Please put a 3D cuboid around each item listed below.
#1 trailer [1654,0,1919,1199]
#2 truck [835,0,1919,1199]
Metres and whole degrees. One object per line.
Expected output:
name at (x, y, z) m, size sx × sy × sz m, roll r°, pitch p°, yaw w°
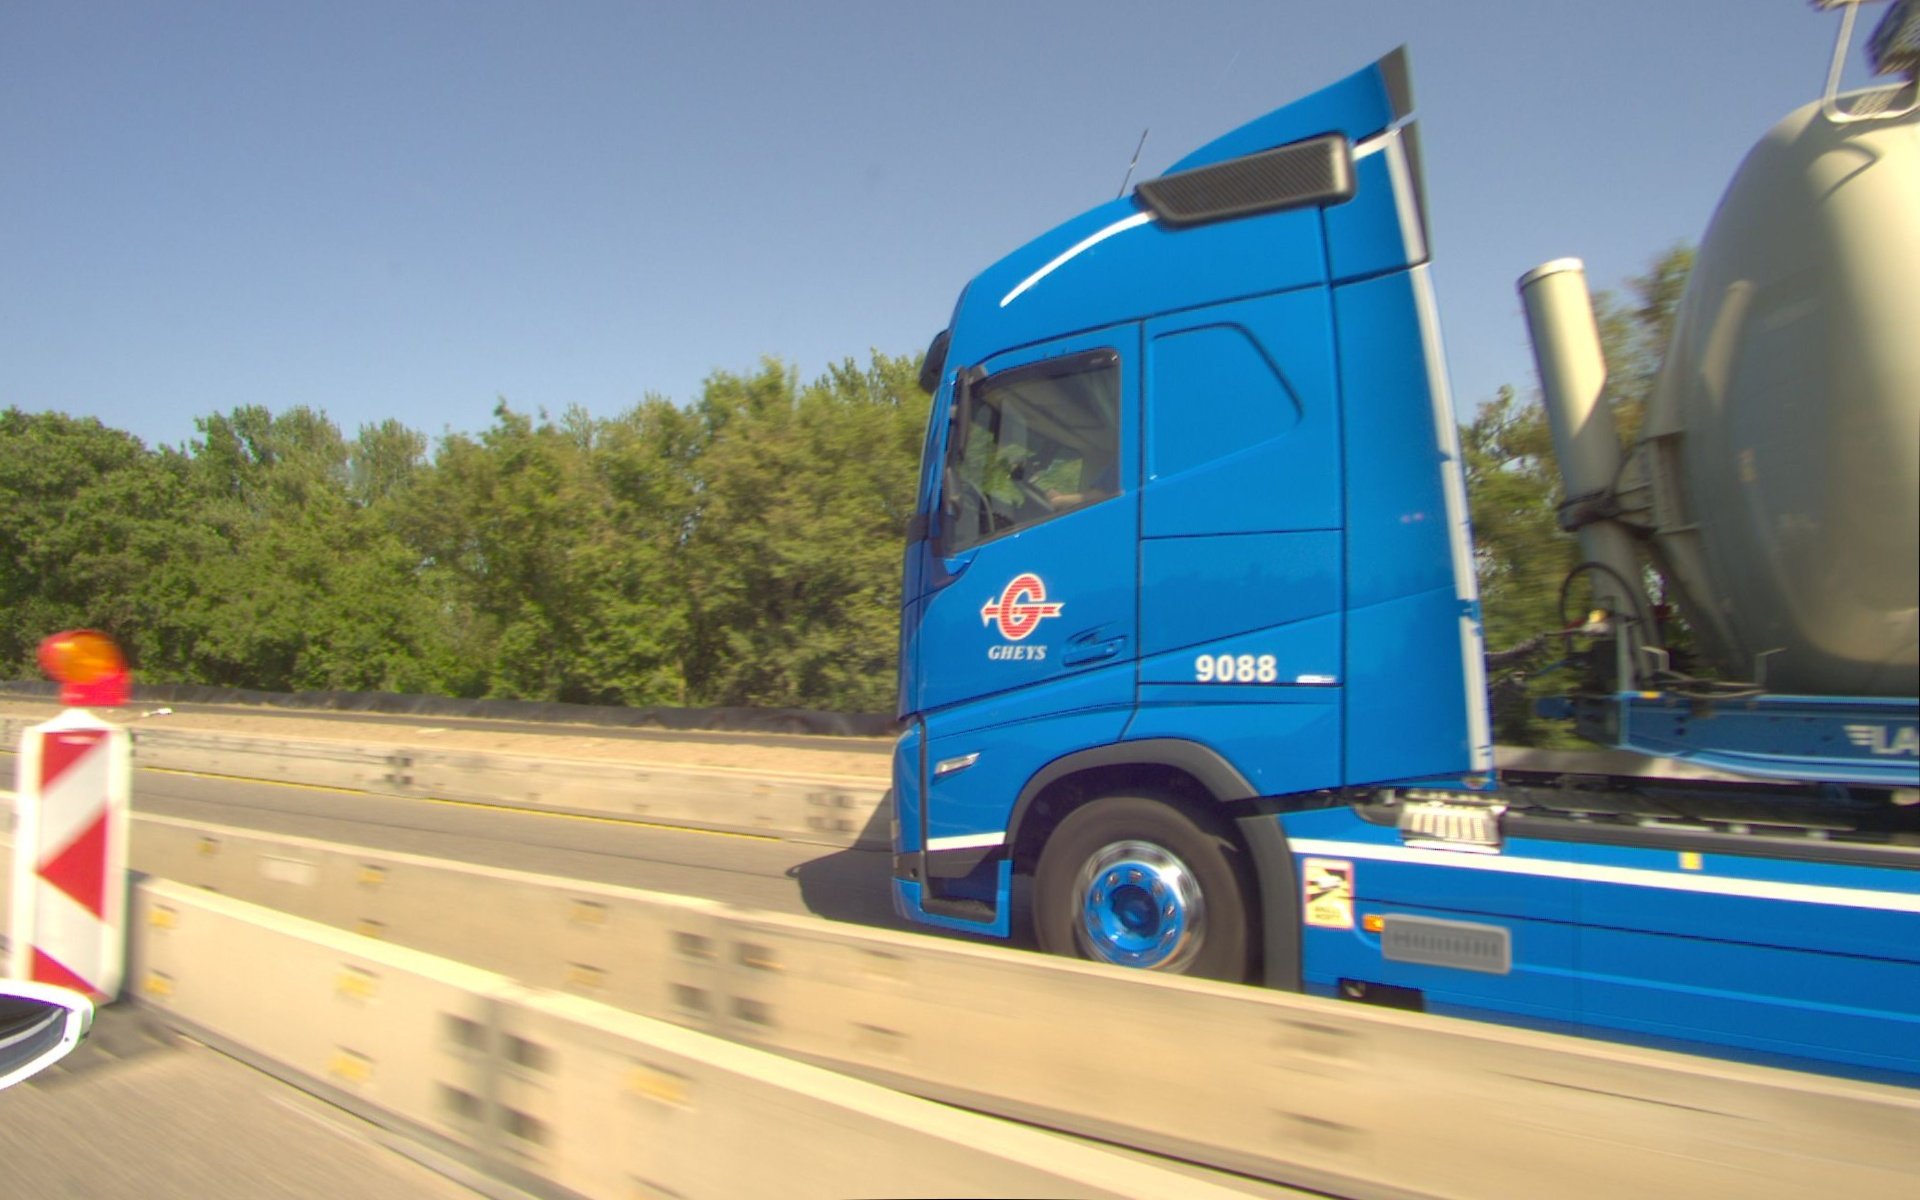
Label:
trailer at (8.855, -0.275, 1.584) m, size 12.410 × 4.189 × 2.695 m, roll -1°, pitch -2°, yaw 26°
truck at (3.246, -0.185, 4.294) m, size 7.182 × 4.154 × 2.695 m, roll -1°, pitch -2°, yaw 26°
